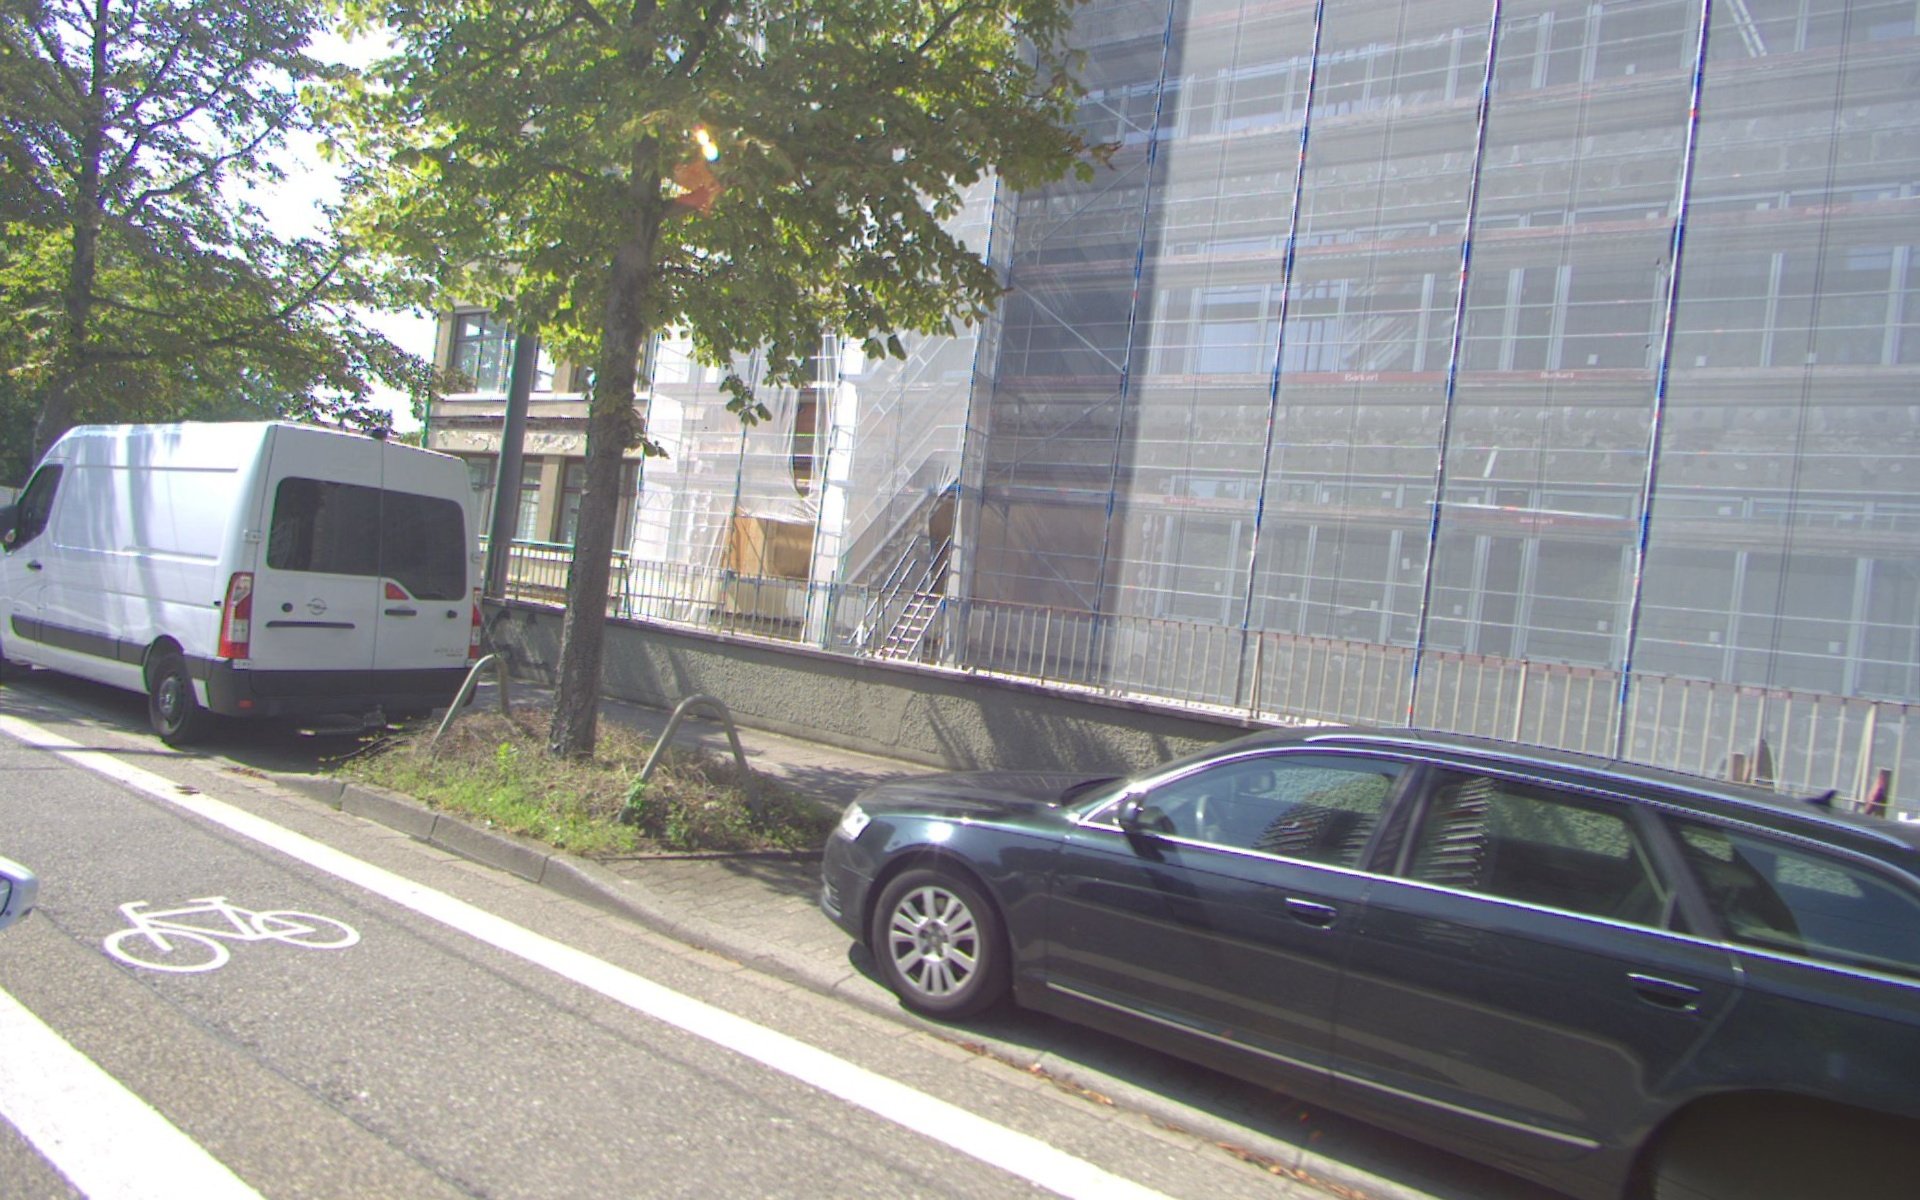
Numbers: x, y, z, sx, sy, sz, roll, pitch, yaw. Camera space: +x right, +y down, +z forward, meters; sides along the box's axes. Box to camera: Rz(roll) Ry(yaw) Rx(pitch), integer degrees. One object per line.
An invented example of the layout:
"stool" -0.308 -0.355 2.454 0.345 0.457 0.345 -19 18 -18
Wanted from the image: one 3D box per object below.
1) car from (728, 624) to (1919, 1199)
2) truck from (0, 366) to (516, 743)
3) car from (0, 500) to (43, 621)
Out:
"car" 1.451 1.137 4.130 4.723 1.457 1.689 6 -2 31
"truck" -6.817 -0.489 9.159 5.497 2.629 1.921 6 -1 30
"car" -14.802 -0.744 14.101 4.102 1.599 1.676 6 0 31
